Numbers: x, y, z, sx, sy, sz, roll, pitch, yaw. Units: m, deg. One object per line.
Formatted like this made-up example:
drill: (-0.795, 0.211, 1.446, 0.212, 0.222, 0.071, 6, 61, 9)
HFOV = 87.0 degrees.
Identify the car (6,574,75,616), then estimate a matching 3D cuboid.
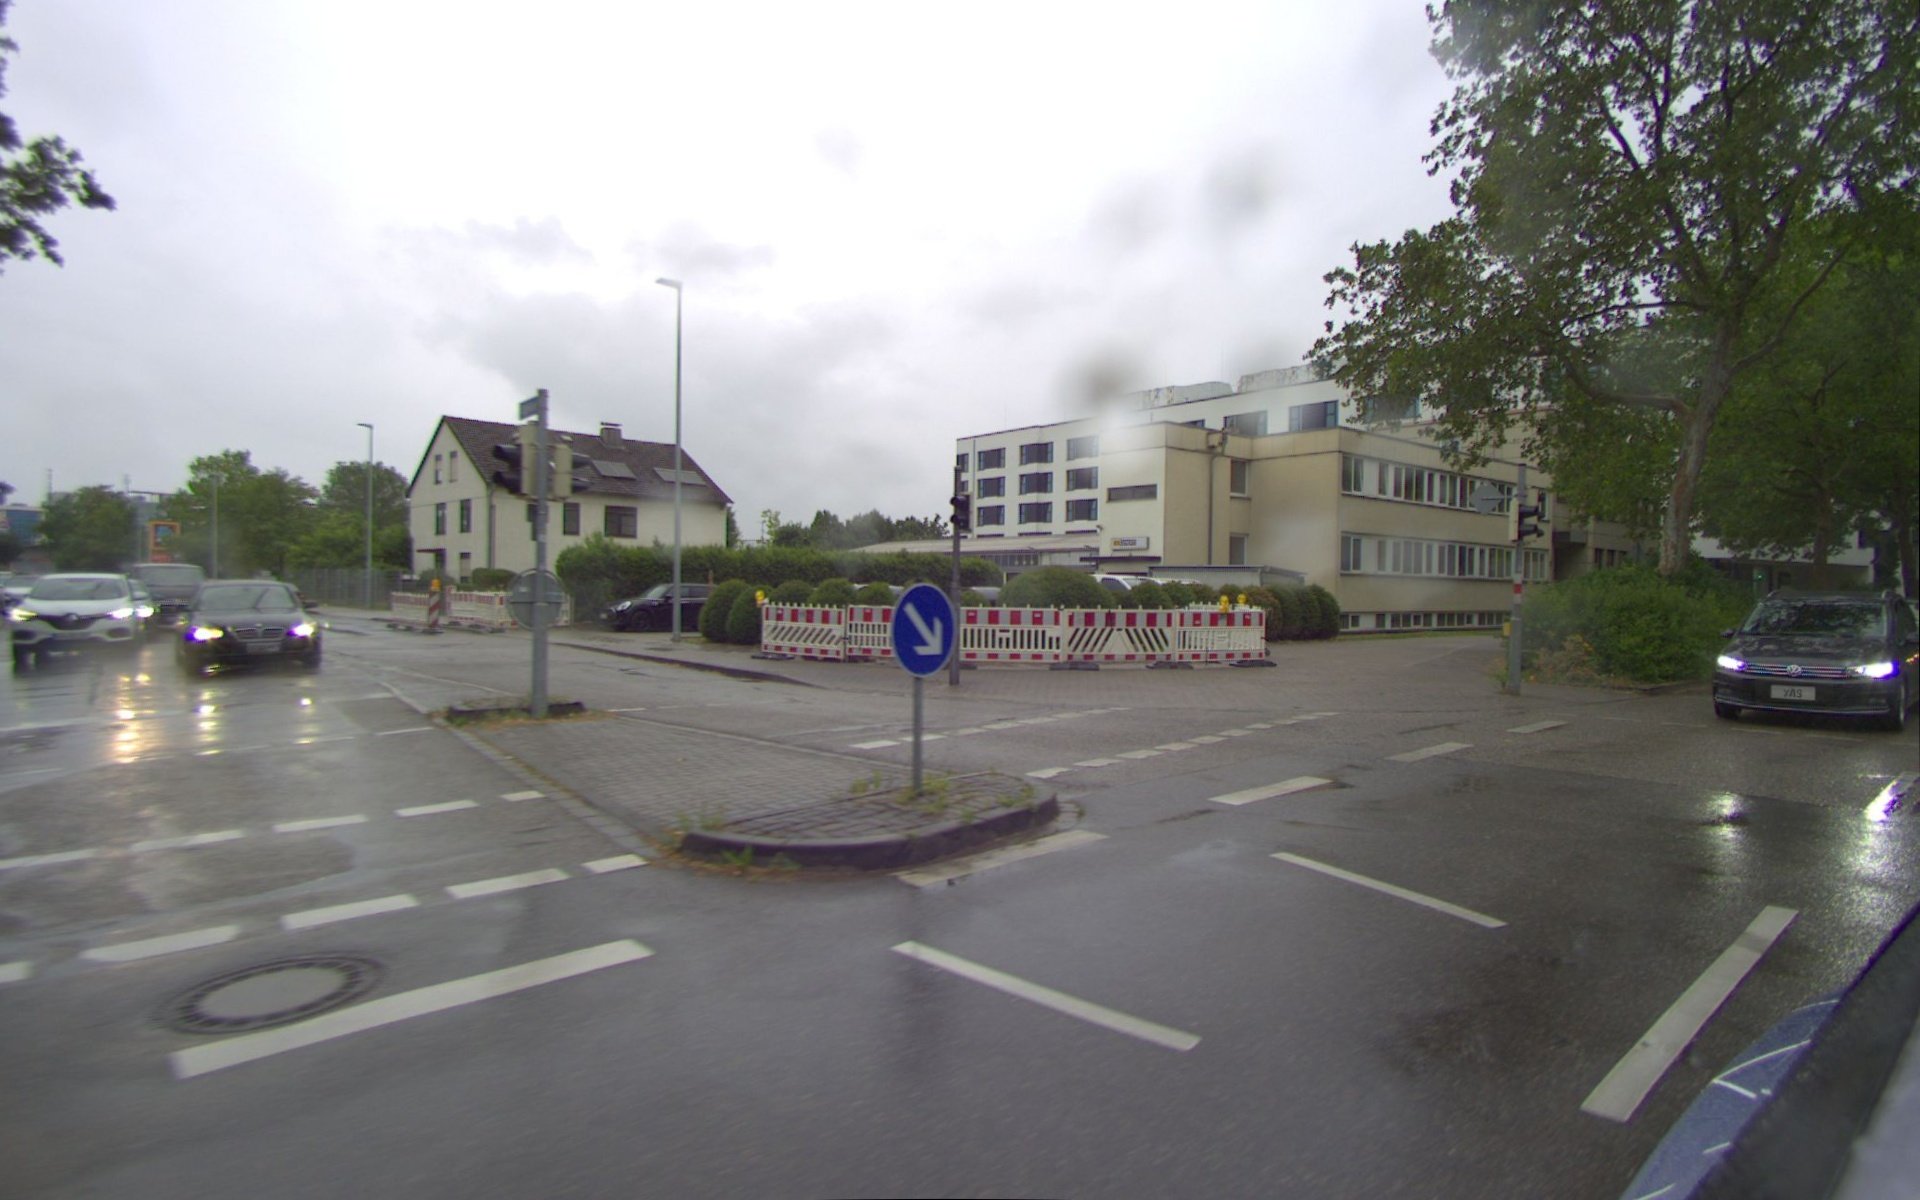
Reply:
car: (-38.535, -0.246, 42.369, 4.291, 1.610, 1.798, 2, 2, 43)

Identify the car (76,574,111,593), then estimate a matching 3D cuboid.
car: (-73.448, -1.409, 85.758, 4.022, 1.477, 1.723, 2, 2, 42)

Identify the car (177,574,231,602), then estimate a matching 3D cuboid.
car: (-43.634, -0.715, 58.373, 4.022, 1.477, 1.723, 2, 2, 42)

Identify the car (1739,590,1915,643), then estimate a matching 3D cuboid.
car: (26.095, 0.446, 30.632, 3.655, 1.434, 1.760, 2, 1, 26)

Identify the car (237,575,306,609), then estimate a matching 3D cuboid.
car: (-31.822, -0.398, 46.735, 4.022, 1.477, 1.723, 2, 2, 42)

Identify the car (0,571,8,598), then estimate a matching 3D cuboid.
car: (-62.179, -1.010, 64.619, 4.291, 1.610, 1.798, 2, 2, 43)

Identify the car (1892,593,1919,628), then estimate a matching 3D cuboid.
car: (41.891, 0.478, 42.265, 3.998, 1.446, 1.733, 2, 1, 26)

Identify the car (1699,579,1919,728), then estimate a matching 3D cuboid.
car: (11.796, 0.542, 13.563, 5.494, 1.614, 1.996, -1, 1, -42)

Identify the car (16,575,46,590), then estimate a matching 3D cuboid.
car: (-90.791, -1.719, 98.881, 4.022, 1.477, 1.723, 2, 2, 42)

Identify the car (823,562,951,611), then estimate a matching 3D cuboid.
car: (-2.525, -0.490, 35.692, 4.229, 1.610, 1.824, 0, 2, -40)

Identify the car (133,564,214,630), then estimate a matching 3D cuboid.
car: (-23.529, -0.159, 30.281, 1.793, 1.819, 4.480, 0, 2, -38)

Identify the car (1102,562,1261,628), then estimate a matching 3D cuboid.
car: (6.461, -0.206, 29.977, 1.717, 1.779, 4.549, 0, 2, -38)

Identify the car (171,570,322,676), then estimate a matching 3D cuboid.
car: (-12.098, 0.267, 17.035, 1.819, 1.501, 4.388, -1, 3, -38)

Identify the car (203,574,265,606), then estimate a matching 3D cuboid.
car: (-36.927, -0.528, 51.454, 4.022, 1.477, 1.723, 2, 2, 42)

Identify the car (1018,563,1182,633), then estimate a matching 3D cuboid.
car: (3.854, -0.120, 28.569, 1.750, 1.779, 4.545, 0, 2, -41)

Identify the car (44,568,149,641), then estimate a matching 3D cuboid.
car: (-21.136, 0.032, 24.905, 1.793, 1.610, 4.303, 0, 2, -38)

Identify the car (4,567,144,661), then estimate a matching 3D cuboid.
car: (-17.301, 0.182, 19.941, 1.854, 1.610, 4.303, 0, 2, -38)

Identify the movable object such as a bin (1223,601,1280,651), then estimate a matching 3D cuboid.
movable object such as a bin: (6.263, 0.544, 21.787, 0.697, 0.981, 1.077, -1, 2, -17)

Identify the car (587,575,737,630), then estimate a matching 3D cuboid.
car: (-8.997, 0.032, 30.709, 3.989, 1.551, 1.824, 0, 2, -40)

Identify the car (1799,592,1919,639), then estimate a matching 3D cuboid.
car: (30.522, 0.510, 33.713, 3.661, 1.434, 1.731, 2, 2, 30)

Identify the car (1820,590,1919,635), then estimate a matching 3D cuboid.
car: (34.425, 0.444, 37.144, 3.995, 1.558, 1.735, 2, 1, 25)
